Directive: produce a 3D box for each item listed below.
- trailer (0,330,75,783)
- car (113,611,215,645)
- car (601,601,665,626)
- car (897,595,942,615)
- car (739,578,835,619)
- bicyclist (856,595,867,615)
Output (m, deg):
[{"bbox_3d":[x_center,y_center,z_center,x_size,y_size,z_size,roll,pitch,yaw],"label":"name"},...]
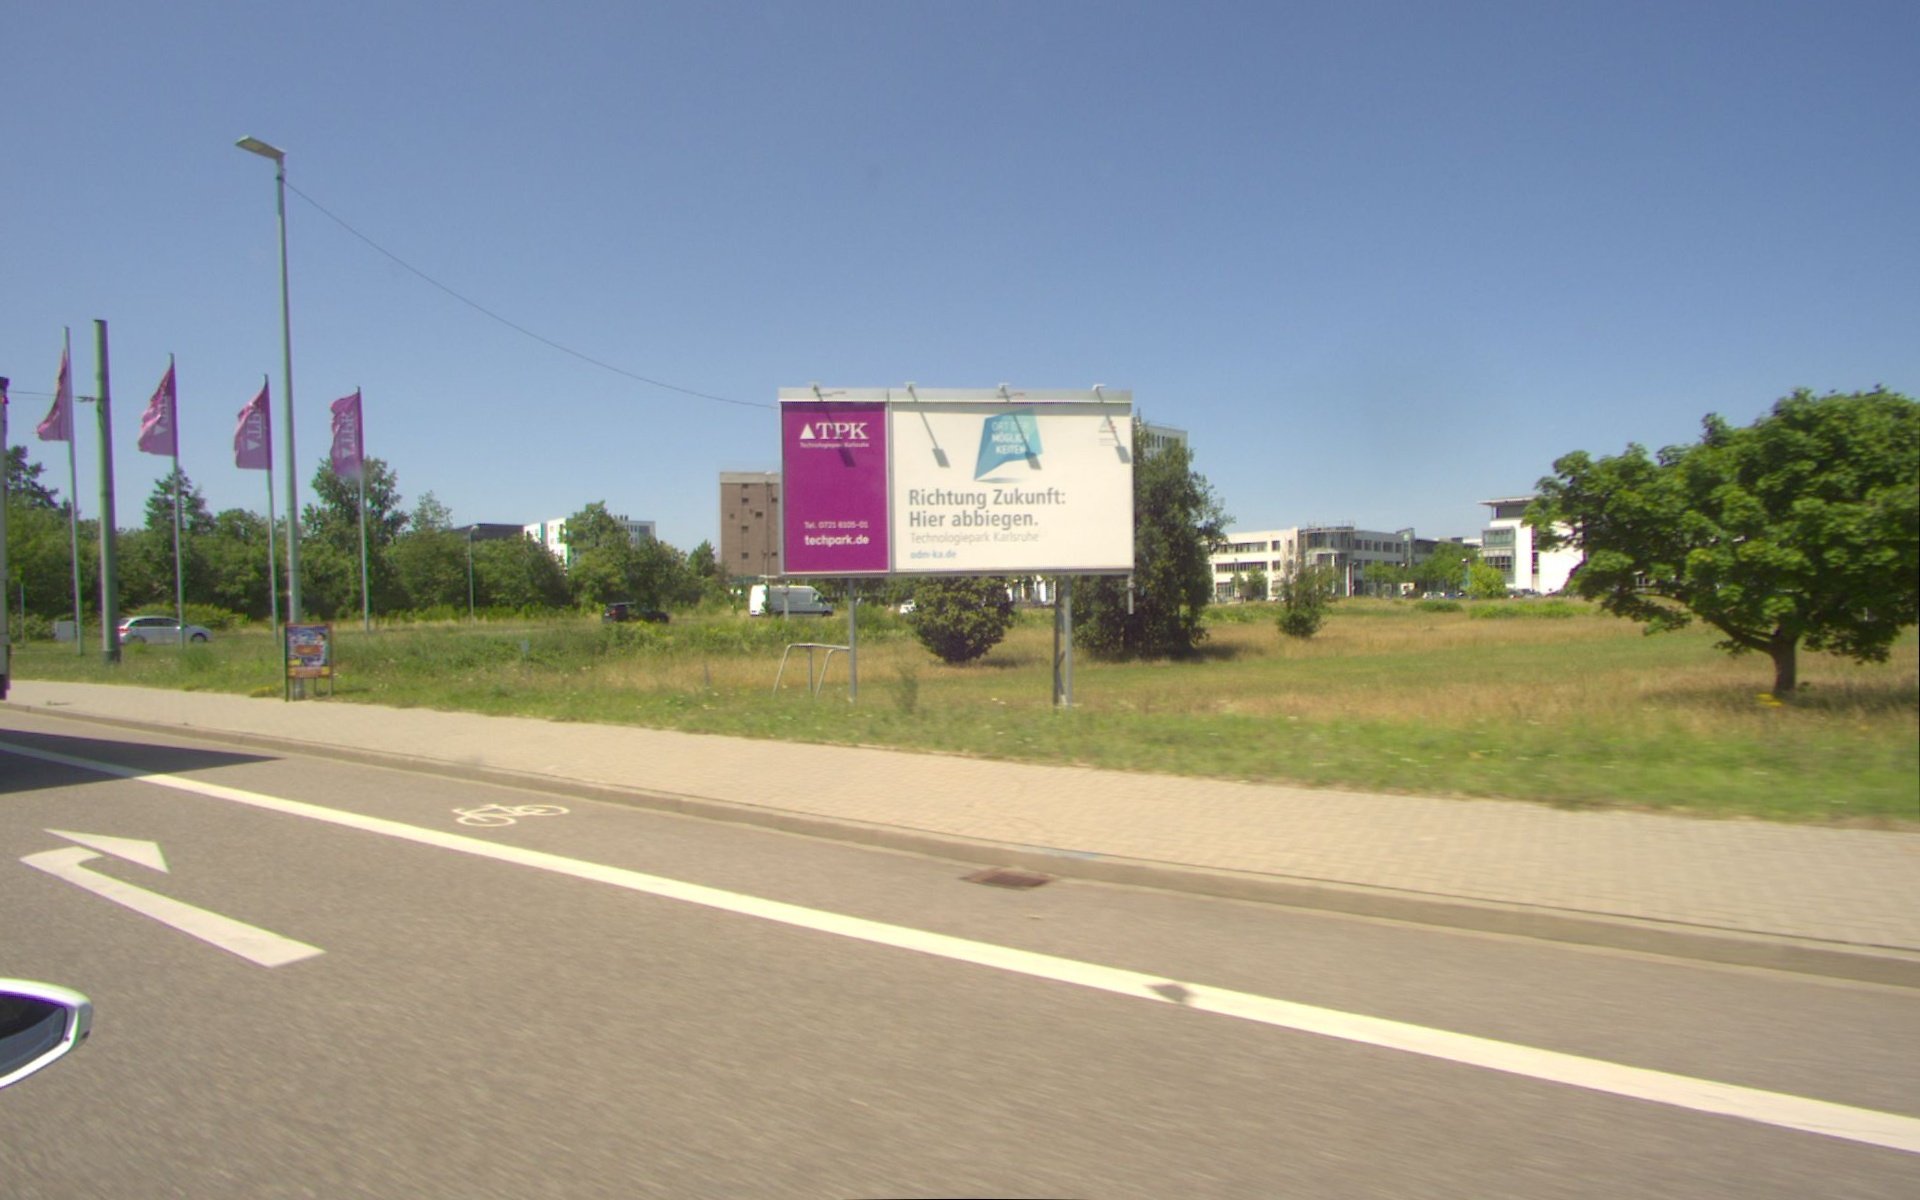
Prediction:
[{"bbox_3d":[-13.456,-0.361,10.491,9.655,4.123,3.075,-1,0,28],"label":"trailer"},{"bbox_3d":[-37.491,1.305,47.208,1.687,1.552,3.597,-1,-1,43],"label":"car"},{"bbox_3d":[-21.101,0.878,64.650,1.685,1.552,3.602,0,-1,38],"label":"car"},{"bbox_3d":[-3.411,0.442,84.582,1.688,1.552,3.595,-1,-2,44],"label":"car"},{"bbox_3d":[-12.822,-0.090,74.674,2.640,2.838,6.793,-2,-1,43],"label":"car"},{"bbox_3d":[-8.065,0.403,82.092,0.603,1.646,0.686,3,4,43],"label":"bicyclist"}]
